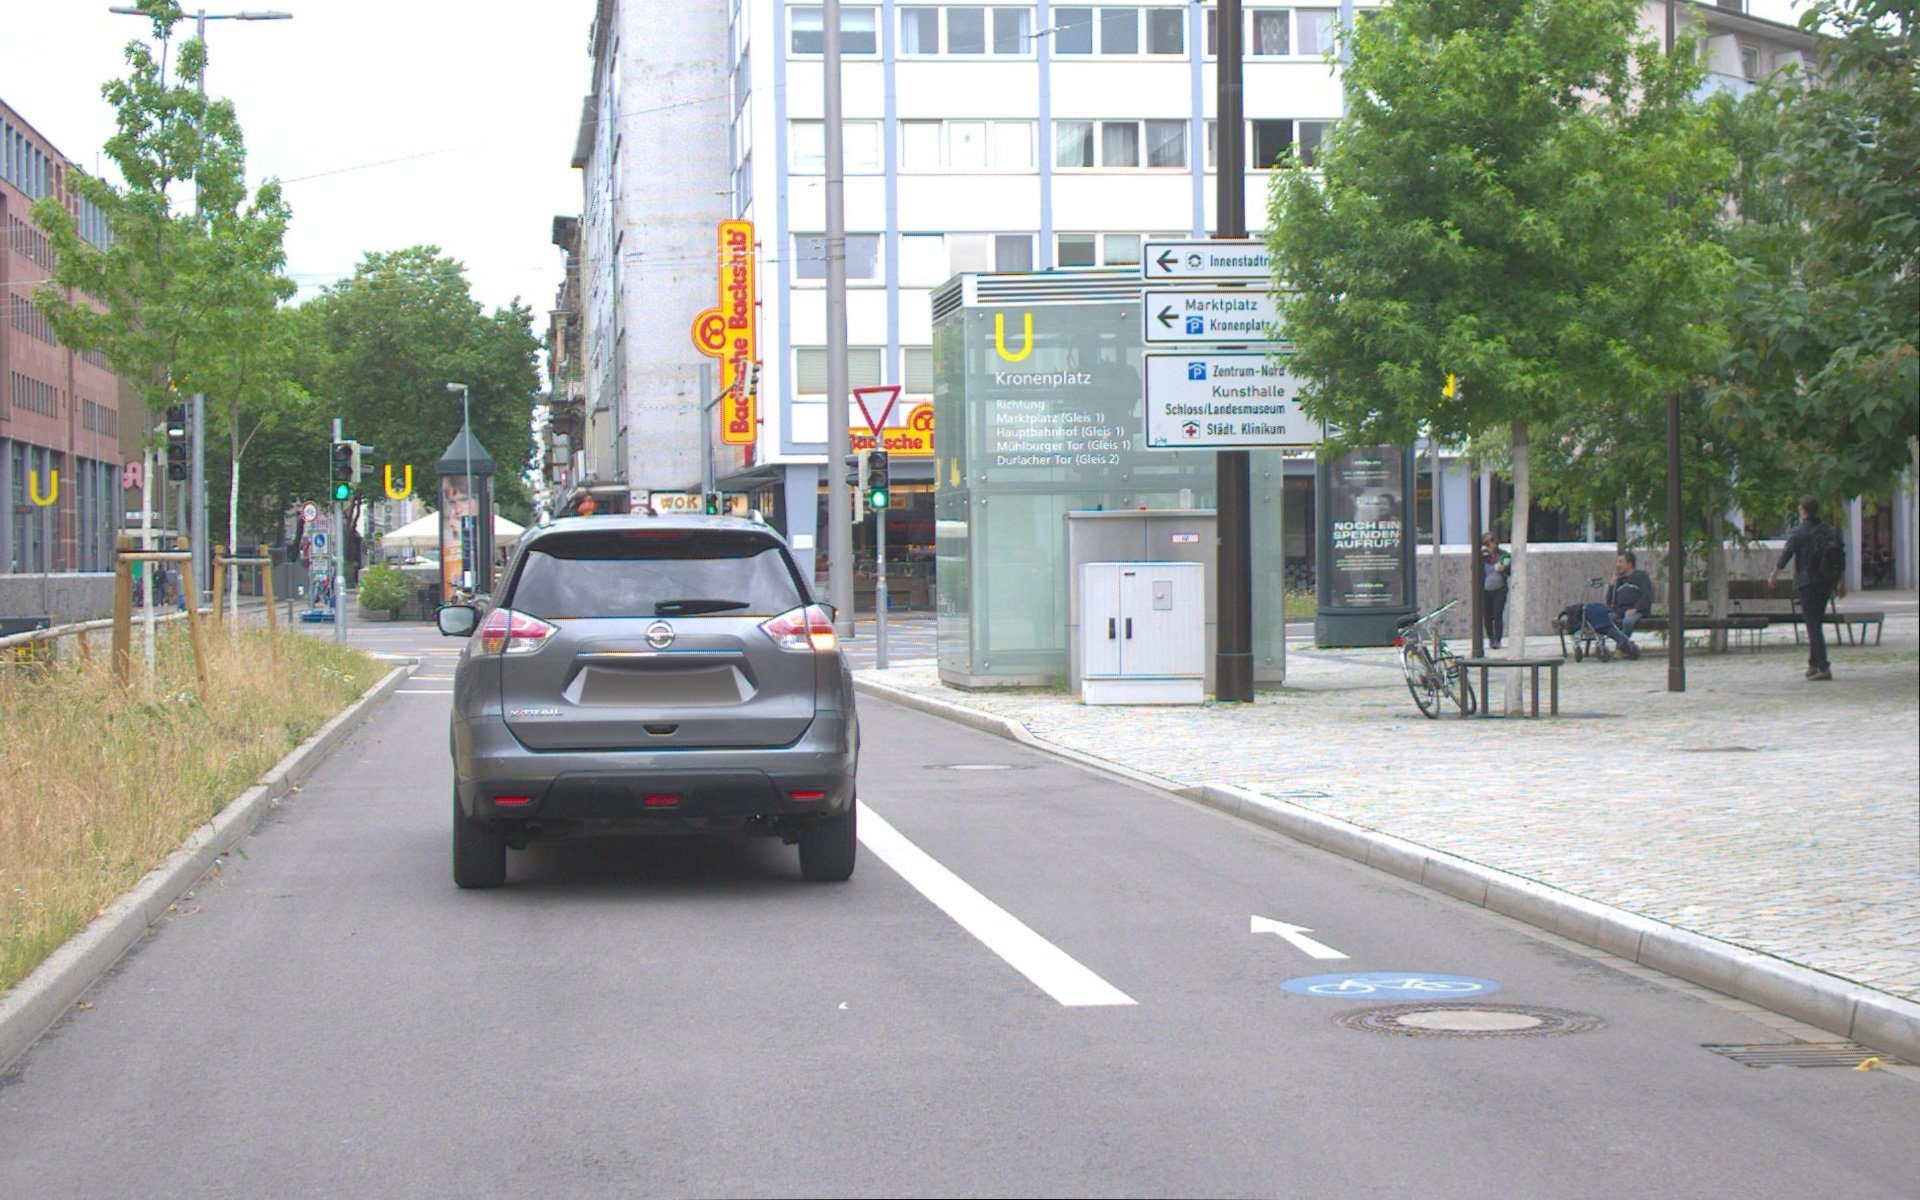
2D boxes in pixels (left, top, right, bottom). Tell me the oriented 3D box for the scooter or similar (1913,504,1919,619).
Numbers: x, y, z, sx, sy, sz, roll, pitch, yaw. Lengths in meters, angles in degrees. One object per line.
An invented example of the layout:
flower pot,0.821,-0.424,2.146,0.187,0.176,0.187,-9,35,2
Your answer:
scooter or similar,15.608,-0.600,53.221,1.084,1.800,2.274,-1,1,1

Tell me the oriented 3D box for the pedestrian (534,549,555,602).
pedestrian,-13.351,-0.778,110.532,0.643,1.699,0.559,0,1,-6

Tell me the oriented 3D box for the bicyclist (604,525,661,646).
bicyclist,-4.925,-0.218,51.722,0.834,1.806,0.878,0,1,-5

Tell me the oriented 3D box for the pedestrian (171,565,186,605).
pedestrian,-33.384,-0.653,146.839,0.600,1.708,0.656,0,1,-14

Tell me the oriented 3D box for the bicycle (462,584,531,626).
bicycle,-11.849,0.117,87.945,1.695,1.062,0.437,0,1,-21

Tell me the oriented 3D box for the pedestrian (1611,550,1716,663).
pedestrian,8.417,0.071,41.169,1.044,1.292,0.733,-2,1,-2

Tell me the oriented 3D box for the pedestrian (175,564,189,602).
pedestrian,-35.522,-0.785,156.928,0.600,1.708,0.656,0,1,-14

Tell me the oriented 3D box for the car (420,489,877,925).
car,-1.589,0.423,16.920,1.863,1.768,4.568,-3,1,-7

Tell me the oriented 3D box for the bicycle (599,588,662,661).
bicycle,-4.969,0.353,52.015,0.901,1.041,3.278,0,1,-5

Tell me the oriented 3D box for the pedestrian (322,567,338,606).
pedestrian,-24.878,-0.526,135.723,0.600,1.531,0.656,0,1,-14

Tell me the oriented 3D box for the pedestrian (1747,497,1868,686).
pedestrian,8.387,-0.087,34.071,0.713,1.796,1.078,-4,1,-8

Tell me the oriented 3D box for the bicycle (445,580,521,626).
bicycle,-12.252,0.083,88.353,1.867,1.168,0.531,0,1,-21

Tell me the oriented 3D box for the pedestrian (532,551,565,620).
pedestrian,-10.514,-0.375,87.843,0.732,1.740,0.663,0,1,-15

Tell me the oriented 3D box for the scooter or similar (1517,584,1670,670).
scooter or similar,7.471,0.318,40.560,1.589,0.945,0.724,-2,1,31

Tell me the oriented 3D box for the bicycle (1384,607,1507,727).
bicycle,4.216,0.567,29.780,0.658,0.975,1.752,-1,1,21

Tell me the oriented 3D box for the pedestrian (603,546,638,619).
pedestrian,-8.593,-0.447,87.031,0.712,1.826,1.017,0,1,-15

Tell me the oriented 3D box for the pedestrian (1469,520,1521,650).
pedestrian,7.294,-0.211,46.884,0.671,1.755,0.641,0,1,8

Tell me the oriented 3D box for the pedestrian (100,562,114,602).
pedestrian,-37.192,-0.793,149.943,0.600,1.708,0.656,0,1,-14
